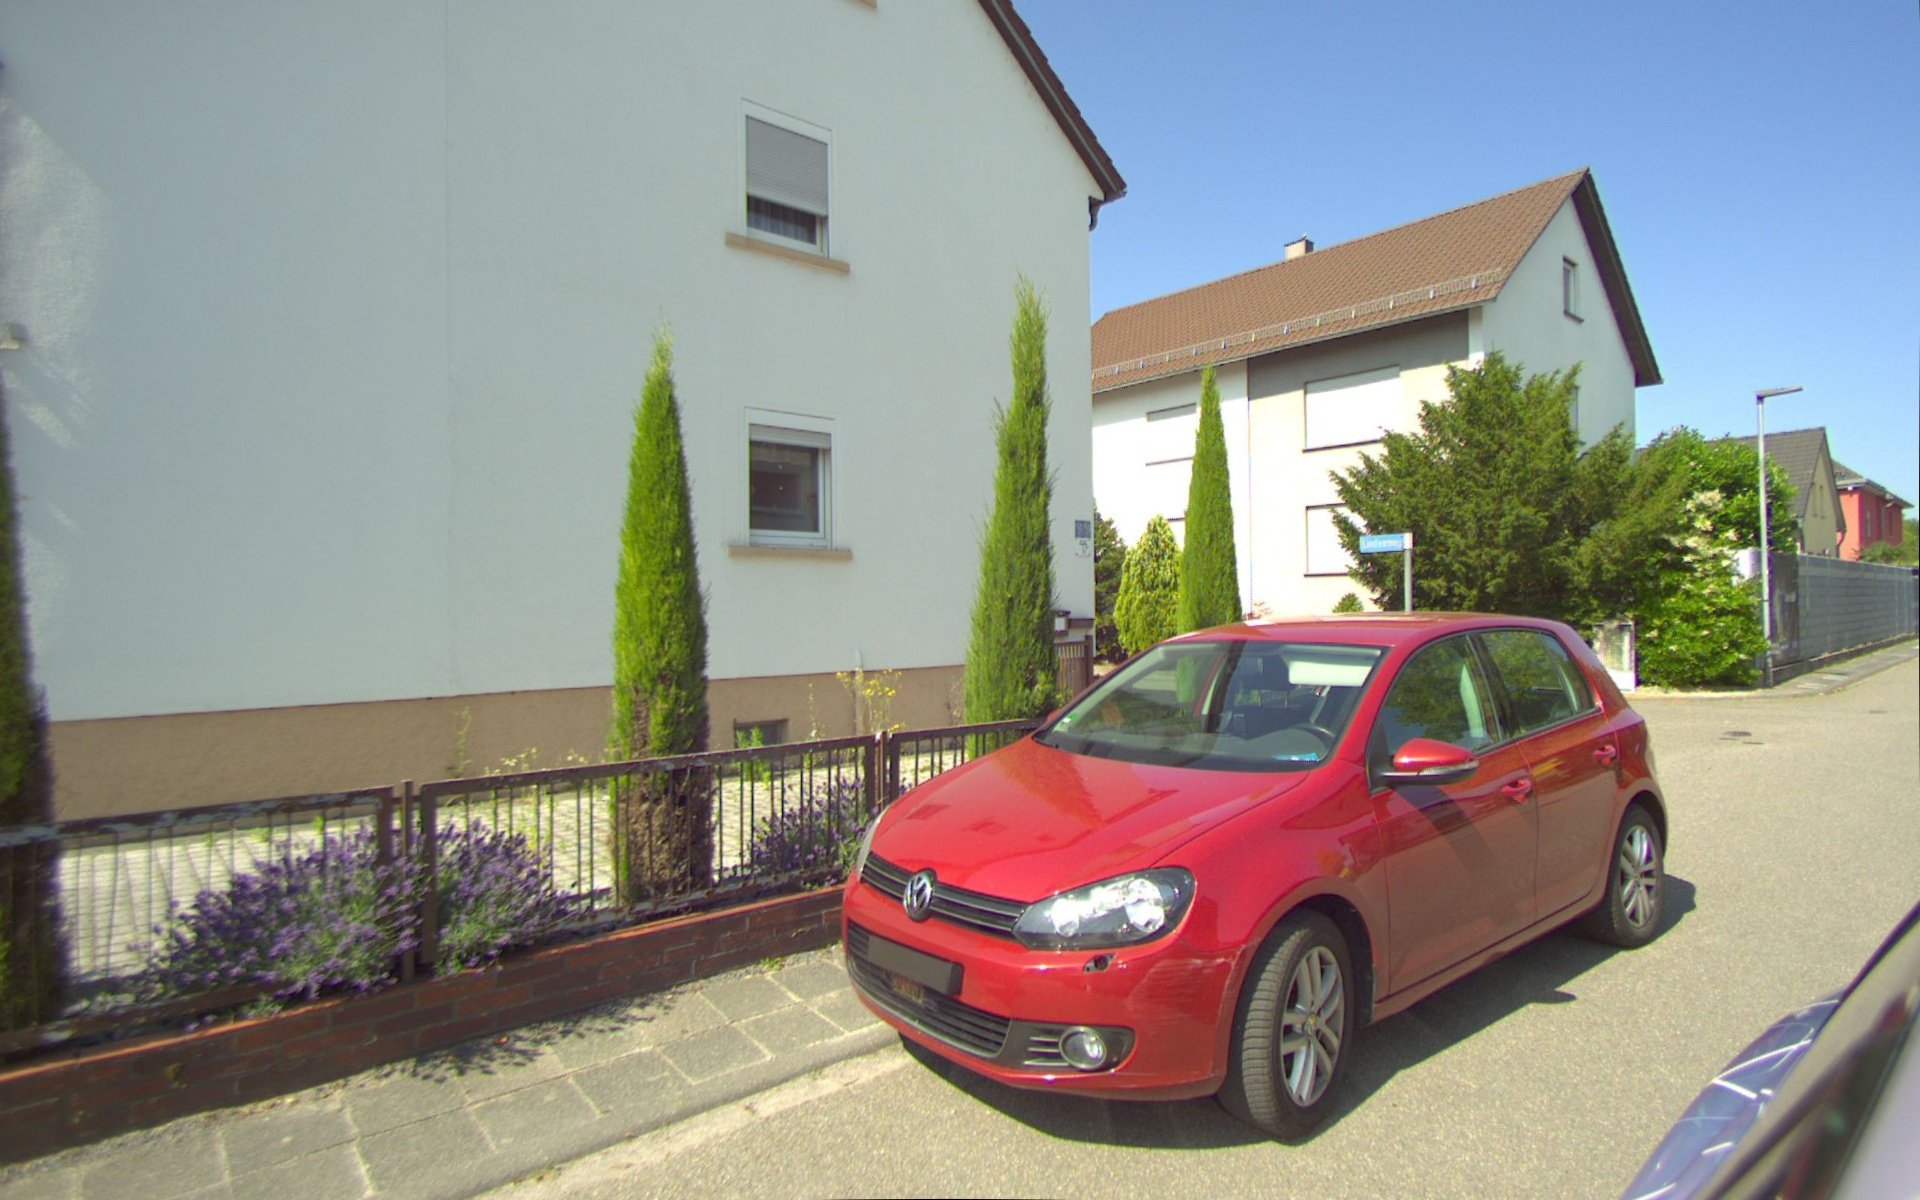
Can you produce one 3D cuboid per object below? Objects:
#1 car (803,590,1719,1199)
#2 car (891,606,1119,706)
[{"bbox_3d":[1.505,0.757,4.350,3.927,1.498,1.779,-1,-2,-38],"label":"car"},{"bbox_3d":[0.693,0.909,17.953,1.766,1.549,3.992,0,-1,-41],"label":"car"}]
